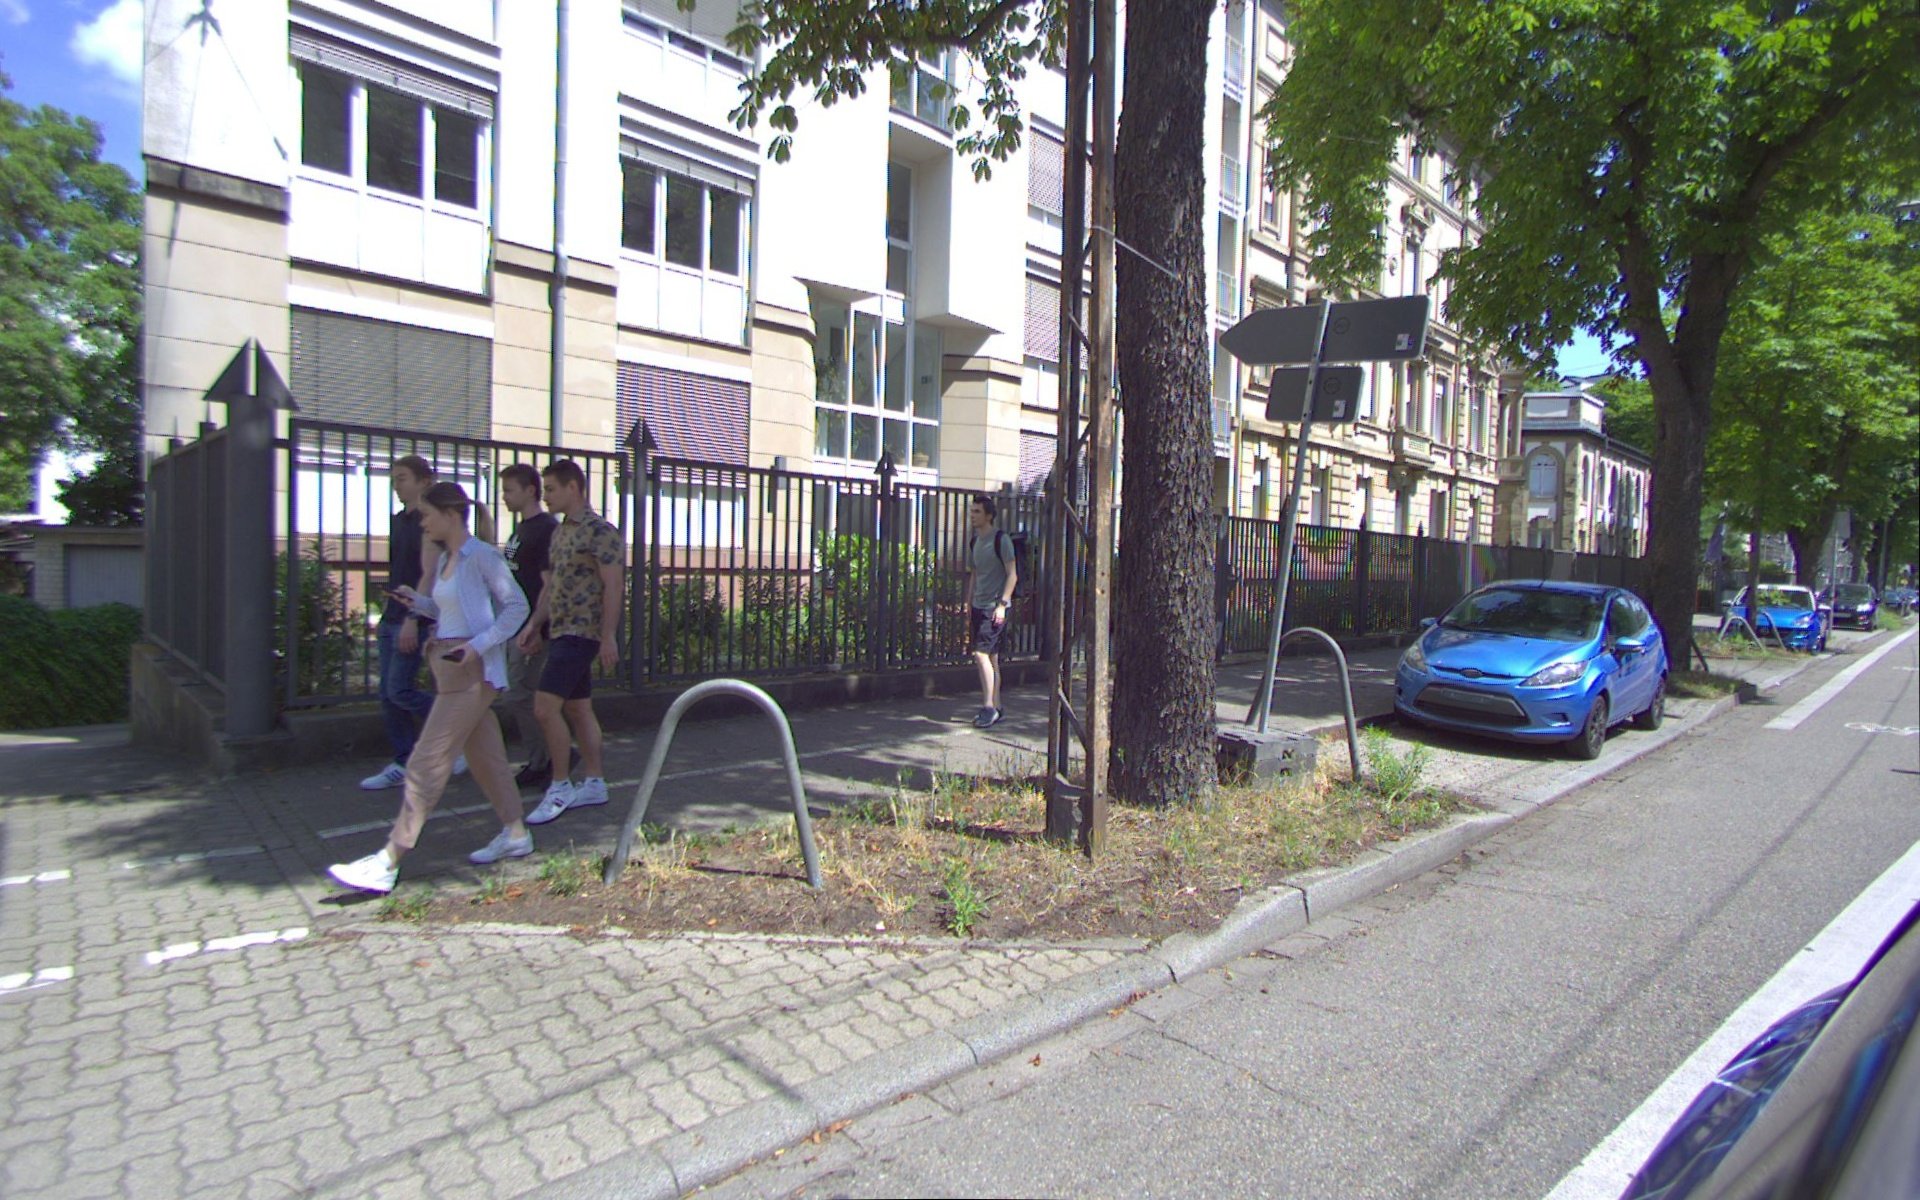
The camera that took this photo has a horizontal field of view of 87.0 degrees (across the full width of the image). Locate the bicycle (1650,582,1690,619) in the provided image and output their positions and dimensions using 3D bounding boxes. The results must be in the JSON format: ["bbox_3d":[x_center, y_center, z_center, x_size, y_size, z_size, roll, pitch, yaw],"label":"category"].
[{"bbox_3d":[22.284,0.010,31.752,1.947,1.084,0.608,0,3,-43],"label":"bicycle"}]

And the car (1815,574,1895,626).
[{"bbox_3d":[31.691,-0.032,35.802,4.017,1.635,1.732,0,5,-44],"label":"car"}]

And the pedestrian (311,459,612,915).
[{"bbox_3d":[-2.119,0.300,4.306,0.957,1.671,0.767,0,3,-43],"label":"pedestrian"}]

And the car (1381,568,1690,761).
[{"bbox_3d":[5.693,0.472,9.826,1.678,1.461,3.661,4,3,44],"label":"car"}]

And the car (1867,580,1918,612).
[{"bbox_3d":[47.032,-0.232,50.999,3.761,1.419,1.624,0,5,-45],"label":"car"}]

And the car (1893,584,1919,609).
[{"bbox_3d":[60.802,-0.207,64.520,3.935,1.419,1.624,0,5,-45],"label":"car"}]

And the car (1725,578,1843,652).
[{"bbox_3d":[18.504,0.290,22.686,1.692,1.470,3.418,4,3,45],"label":"car"}]

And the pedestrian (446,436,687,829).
[{"bbox_3d":[-2.019,0.133,5.205,0.932,1.798,0.705,0,3,-44],"label":"pedestrian"}]

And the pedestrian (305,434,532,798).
[{"bbox_3d":[-3.028,0.066,5.670,0.961,1.834,0.661,0,3,-45],"label":"pedestrian"}]

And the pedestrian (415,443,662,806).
[{"bbox_3d":[-2.328,0.102,5.602,1.034,1.783,0.789,0,3,-43],"label":"pedestrian"}]

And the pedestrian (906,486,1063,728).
[{"bbox_3d":[0.207,0.032,8.214,1.066,1.819,0.685,0,3,-45],"label":"pedestrian"}]
